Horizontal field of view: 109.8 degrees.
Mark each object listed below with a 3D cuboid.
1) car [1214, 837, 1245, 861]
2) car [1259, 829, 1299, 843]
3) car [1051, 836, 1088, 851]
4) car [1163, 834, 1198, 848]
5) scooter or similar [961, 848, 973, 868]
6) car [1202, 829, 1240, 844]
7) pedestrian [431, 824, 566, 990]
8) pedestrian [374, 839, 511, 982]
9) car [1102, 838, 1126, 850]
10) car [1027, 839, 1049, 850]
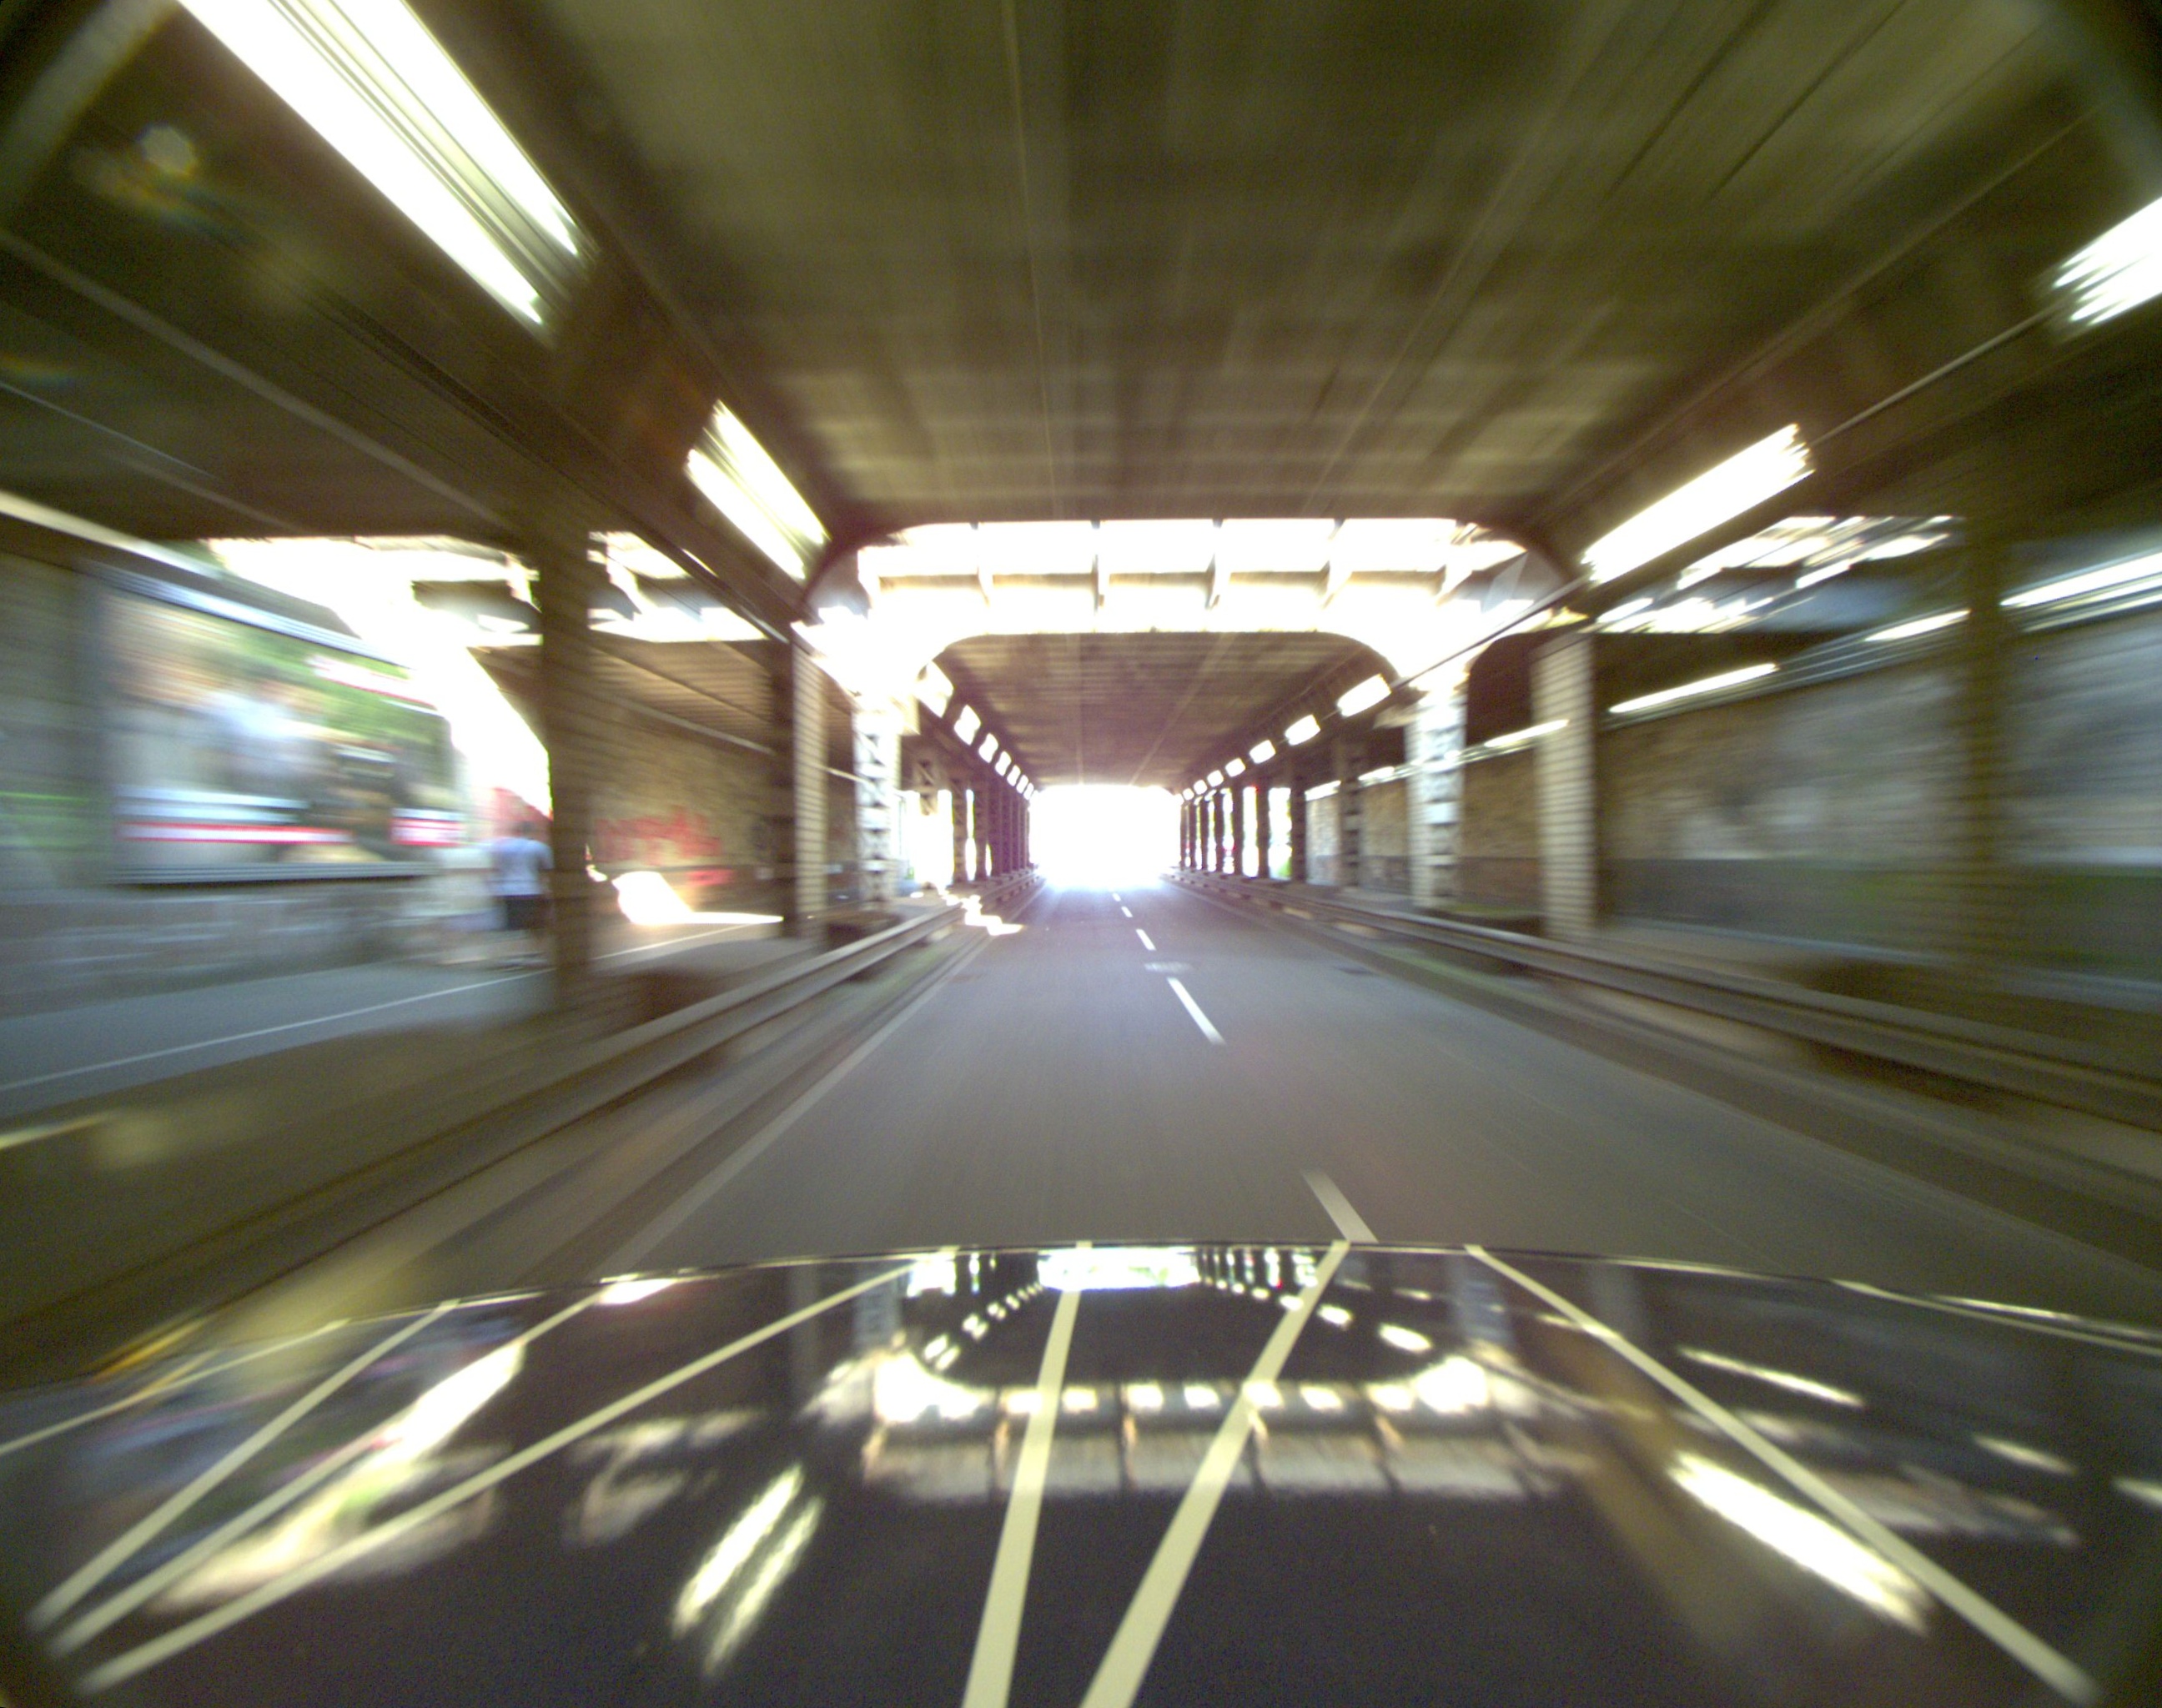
[{"bbox_3d":[10.773,-0.392,54.990,1.953,1.509,4.390,-1,2,15],"label":"car"},{"bbox_3d":[22.779,-2.080,87.443,3.939,1.419,1.905,-2,2,-18],"label":"car"},{"bbox_3d":[-1.412,-1.305,95.470,4.269,1.733,1.857,1,1,-16],"label":"car"},{"bbox_3d":[12.654,-1.712,96.914,4.320,1.590,1.860,-2,2,6],"label":"car"},{"bbox_3d":[-7.238,0.241,48.217,0.538,1.190,1.290,-2,2,1],"label":"scooter or similar"},{"bbox_3d":[16.385,-2.050,88.981,4.127,1.627,1.916,-3,2,-30],"label":"car"},{"bbox_3d":[-6.767,0.587,8.884,0.882,1.825,0.922,1,1,-3],"label":"pedestrian"},{"bbox_3d":[-7.710,0.655,9.232,0.919,1.646,0.886,1,1,-3],"label":"pedestrian"},{"bbox_3d":[4.823,-1.460,112.977,2.016,1.656,3.843,-3,1,-24],"label":"car"},{"bbox_3d":[-7.075,-1.530,125.036,2.180,1.720,4.483,-3,1,-22],"label":"car"}]
